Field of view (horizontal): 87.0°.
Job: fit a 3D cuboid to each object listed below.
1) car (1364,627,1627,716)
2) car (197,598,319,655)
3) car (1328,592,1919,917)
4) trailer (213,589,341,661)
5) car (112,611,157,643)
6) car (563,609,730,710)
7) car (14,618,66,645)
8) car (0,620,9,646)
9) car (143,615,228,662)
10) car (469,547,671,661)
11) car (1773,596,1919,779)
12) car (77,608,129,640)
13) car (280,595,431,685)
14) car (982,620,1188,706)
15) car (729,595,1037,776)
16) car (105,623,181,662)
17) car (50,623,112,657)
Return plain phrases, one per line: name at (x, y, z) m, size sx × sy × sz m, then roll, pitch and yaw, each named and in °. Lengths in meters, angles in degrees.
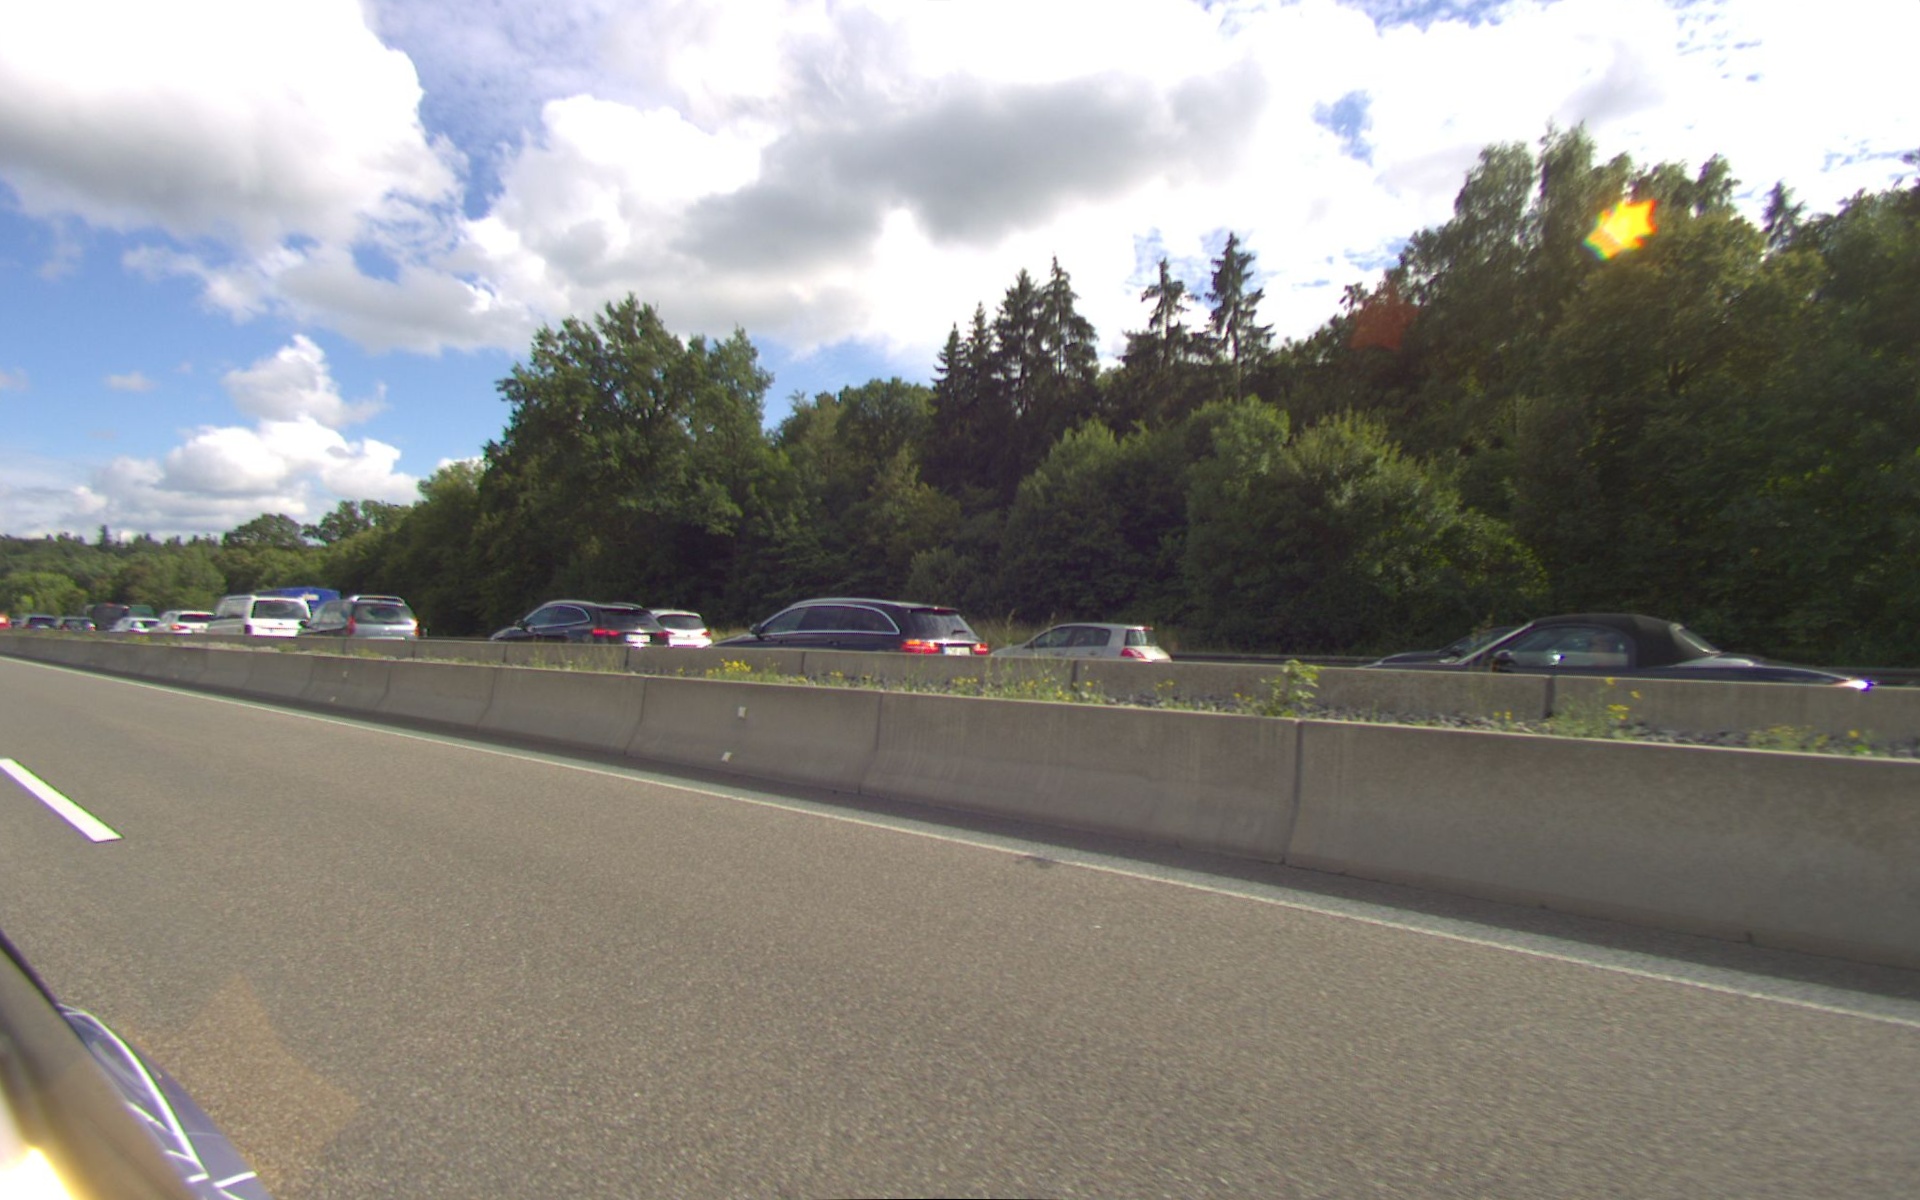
car at (9.781, 1.227, 18.660) m, size 3.999 × 1.466 × 1.738 m, roll -1°, pitch -2°, yaw 42°
car at (-22.092, 0.821, 31.772) m, size 5.328 × 1.584 × 1.972 m, roll -1°, pitch 1°, yaw 42°
car at (5.001, 0.865, 7.358) m, size 4.000 × 1.807 × 1.799 m, roll 1°, pitch 1°, yaw 42°
trailer at (-29.099, 1.004, 42.956) m, size 8.535 × 2.807 × 2.256 m, roll -1°, pitch 0°, yaw 40°
car at (-65.351, 2.130, 80.067) m, size 5.328 × 2.391 × 1.972 m, roll -1°, pitch 0°, yaw 42°
car at (-7.313, 1.266, 23.433) m, size 4.000 × 2.029 × 1.972 m, roll 1°, pitch 1°, yaw 42°
car at (-57.939, 1.966, 63.706) m, size 5.206 × 1.584 × 1.972 m, roll -1°, pitch 0°, yaw 42°
car at (-70.132, 2.401, 73.066) m, size 4.458 × 1.776 × 1.838 m, roll 0°, pitch 0°, yaw 42°
car at (-28.622, 1.378, 37.368) m, size 4.356 × 1.584 × 1.747 m, roll -1°, pitch 0°, yaw 42°
car at (-7.902, 0.035, 20.274) m, size 4.547 × 2.029 × 1.972 m, roll 1°, pitch 1°, yaw 42°
car at (9.699, 0.756, 8.784) m, size 3.999 × 1.586 × 1.820 m, roll -1°, pitch -2°, yaw 42°
car at (-58.767, 1.638, 69.361) m, size 5.844 × 2.047 × 1.972 m, roll -1°, pitch 0°, yaw 42°
car at (-15.459, 0.930, 25.783) m, size 4.675 × 2.029 × 1.973 m, roll 1°, pitch 1°, yaw 41°
car at (2.535, 1.217, 21.038) m, size 4.000 × 1.466 × 1.737 m, roll 1°, pitch 1°, yaw 42°
car at (-1.141, 0.972, 13.695) m, size 4.000 × 2.029 × 1.972 m, roll 1°, pitch 1°, yaw 42°
car at (-36.009, 1.840, 44.567) m, size 4.356 × 1.584 × 1.972 m, roll -1°, pitch 0°, yaw 42°
car at (-44.253, 1.970, 50.948) m, size 3.510 × 1.584 × 1.972 m, roll -1°, pitch 0°, yaw 42°
